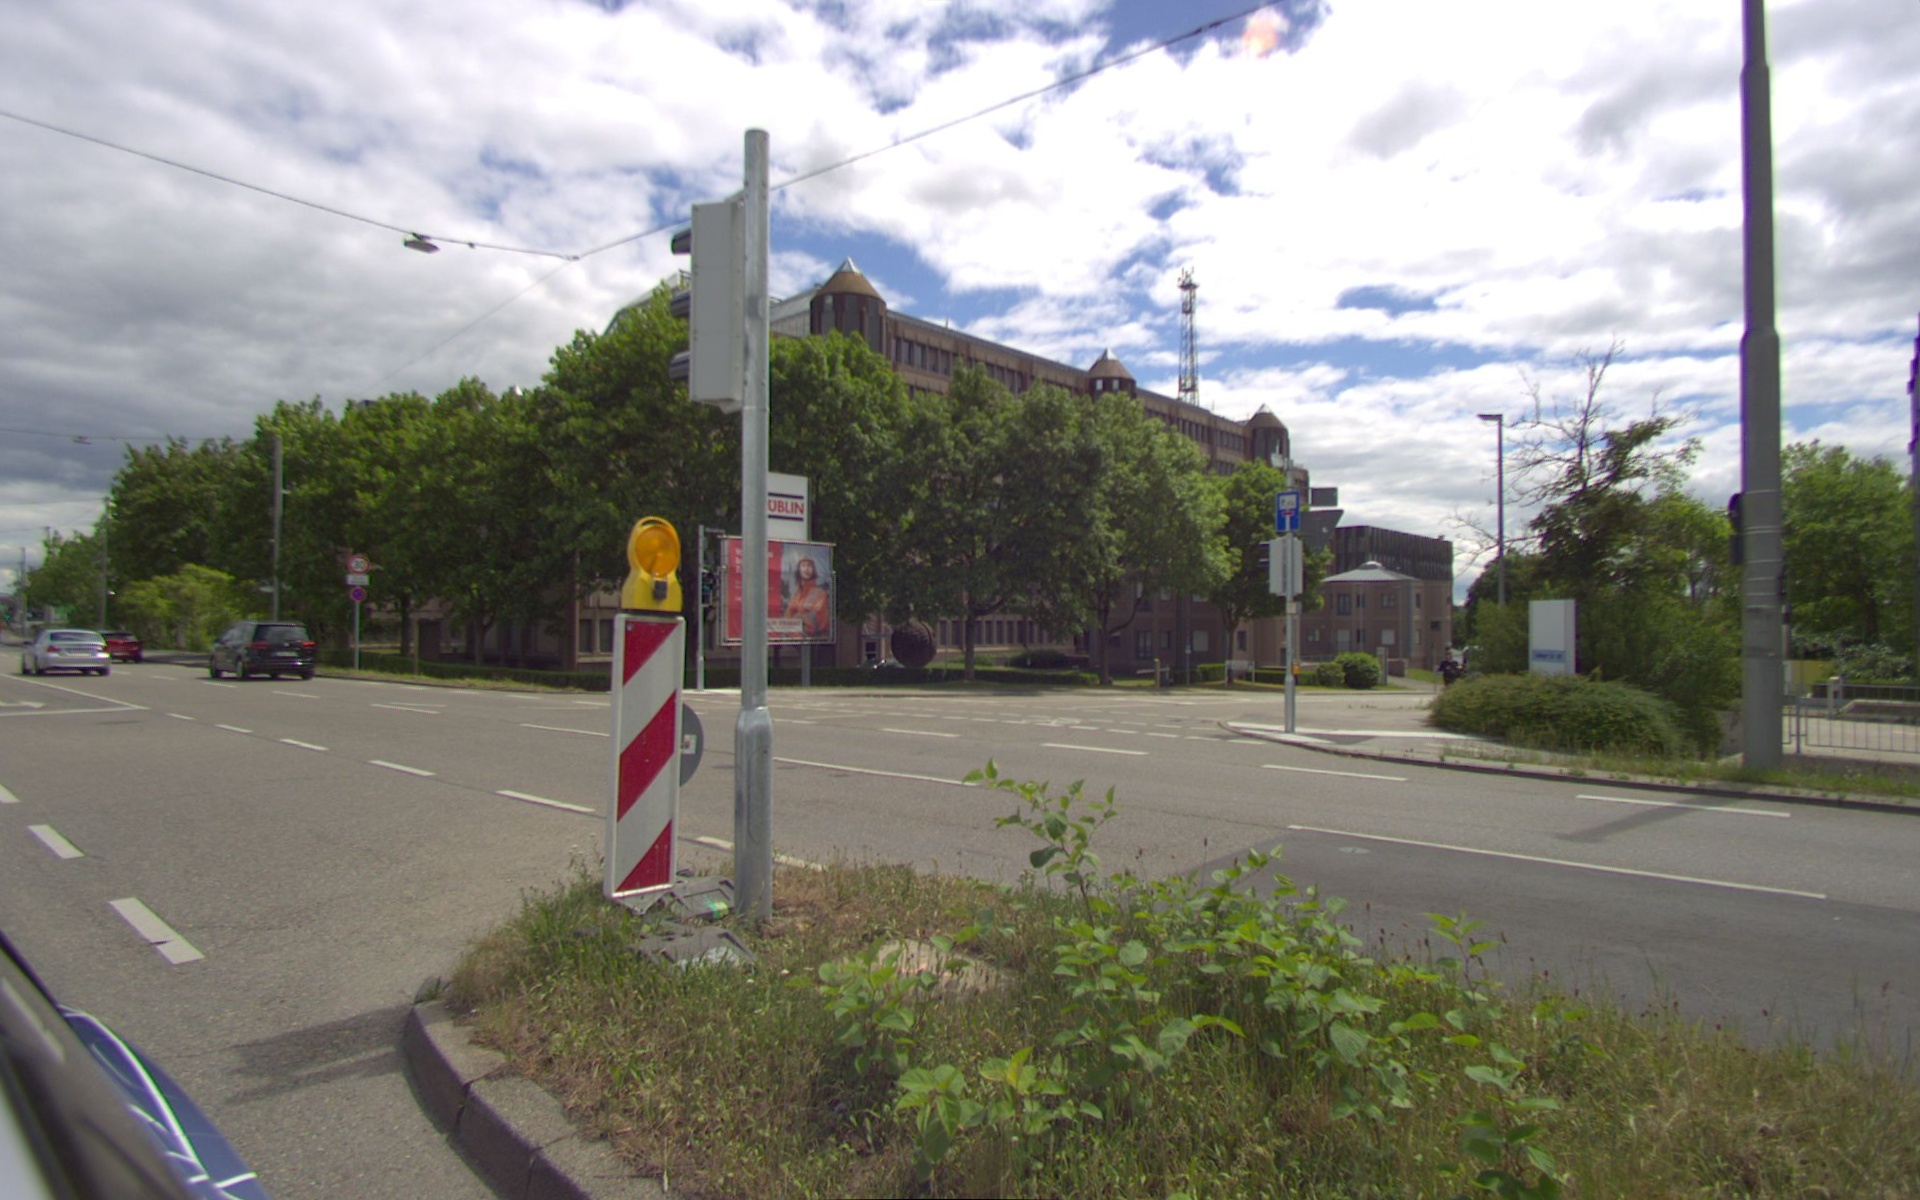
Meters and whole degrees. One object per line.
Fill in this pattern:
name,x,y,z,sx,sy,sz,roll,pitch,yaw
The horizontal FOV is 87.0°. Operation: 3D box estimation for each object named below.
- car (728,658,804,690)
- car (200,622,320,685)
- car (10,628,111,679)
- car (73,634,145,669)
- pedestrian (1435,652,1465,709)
car,-8.410,3.188,44.114,1.531,1.214,3.139,-1,-1,33
car,-20.969,1.541,30.252,4.760,1.715,1.972,-2,-2,43
car,-27.920,1.608,31.356,4.419,1.458,1.773,-1,-2,41
car,-37.570,2.237,44.669,3.997,1.426,1.762,-1,-3,40
pedestrian,14.725,2.414,30.403,0.620,1.657,0.740,-2,-6,42
